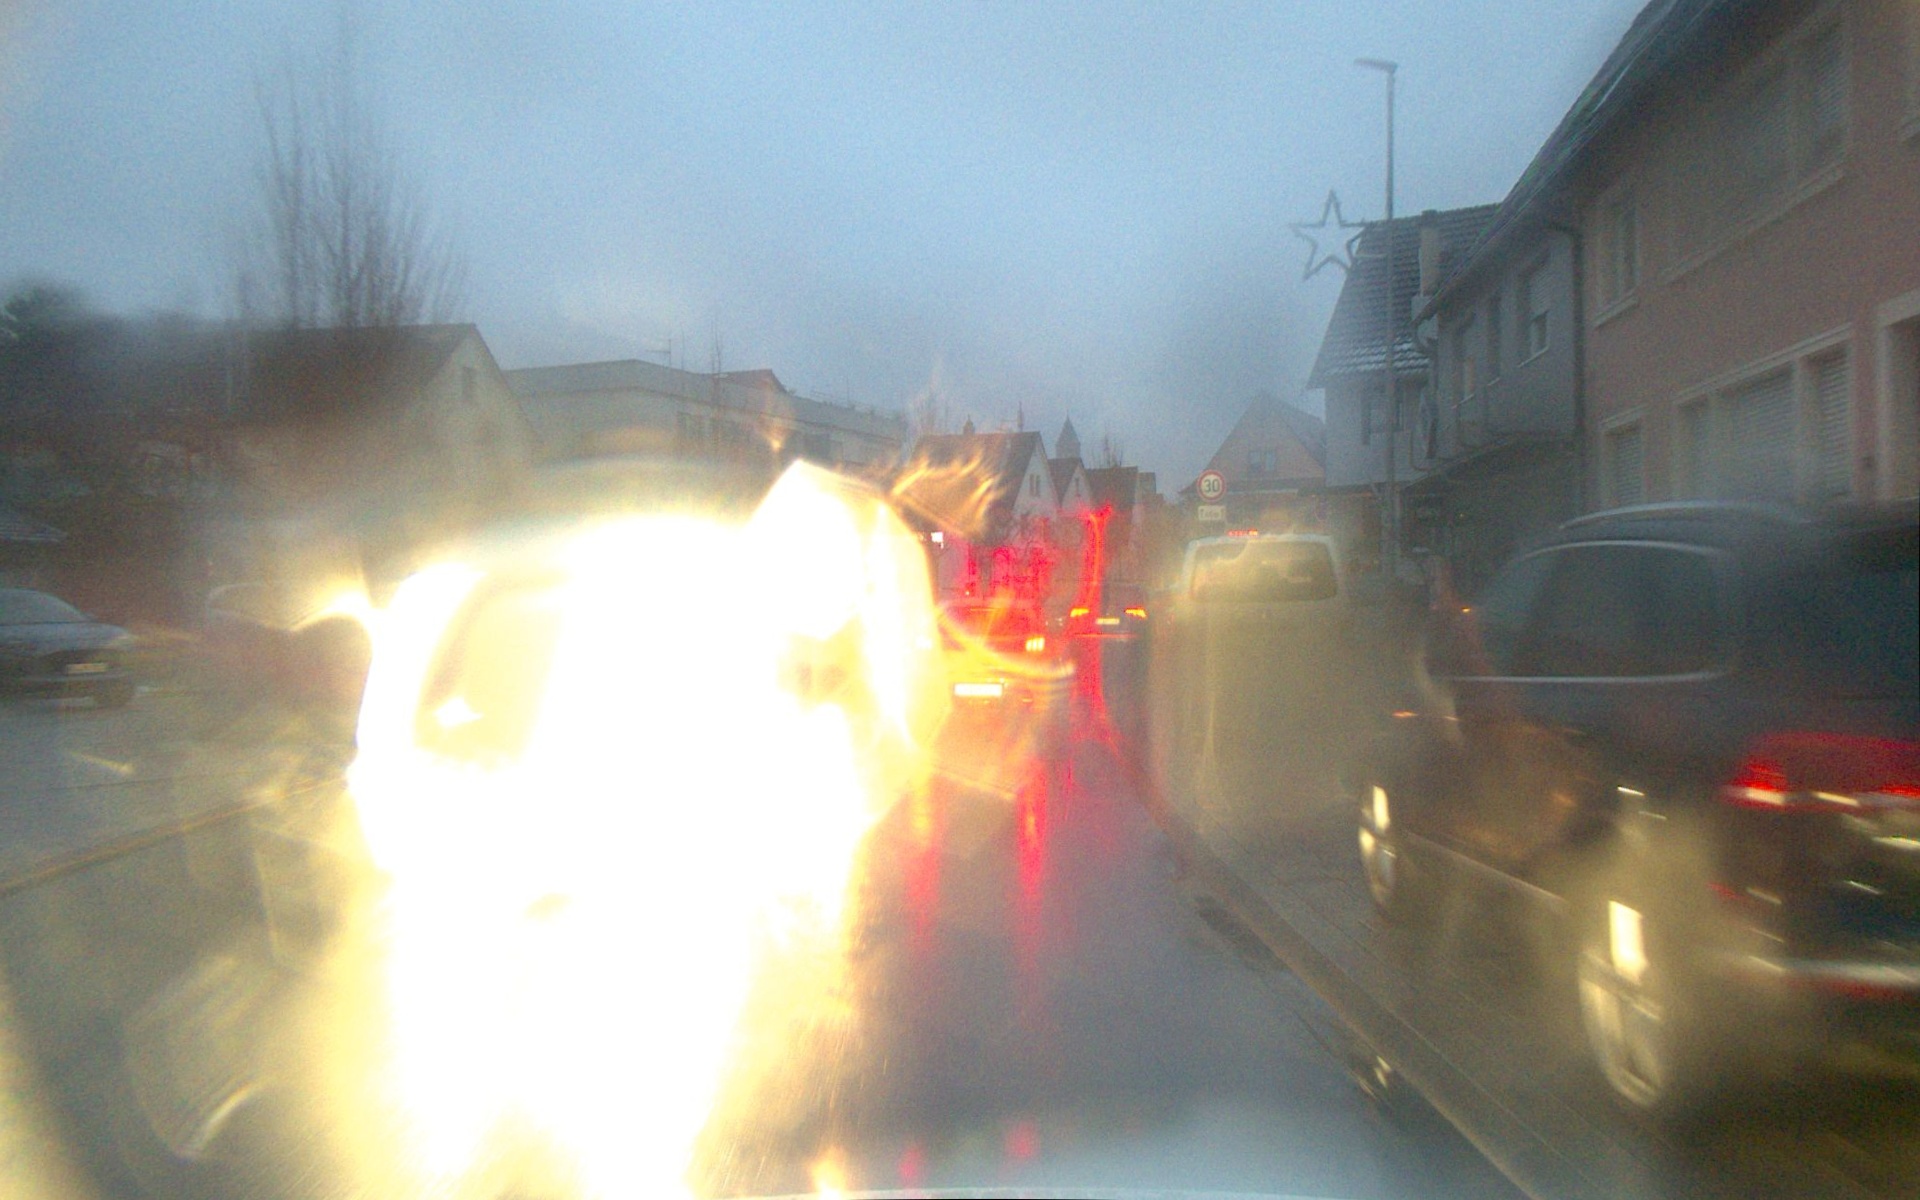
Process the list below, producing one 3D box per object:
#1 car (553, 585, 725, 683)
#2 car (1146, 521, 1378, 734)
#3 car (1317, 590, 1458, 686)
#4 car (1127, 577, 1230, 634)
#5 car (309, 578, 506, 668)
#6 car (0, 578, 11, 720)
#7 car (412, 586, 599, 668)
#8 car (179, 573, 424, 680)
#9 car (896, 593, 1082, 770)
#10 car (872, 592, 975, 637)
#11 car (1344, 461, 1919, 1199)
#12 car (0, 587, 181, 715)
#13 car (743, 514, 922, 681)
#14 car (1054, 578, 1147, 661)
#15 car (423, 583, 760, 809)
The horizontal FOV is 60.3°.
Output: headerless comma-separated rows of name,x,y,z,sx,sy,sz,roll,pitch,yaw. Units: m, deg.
car,-5.401,0.520,28.379,1.864,1.560,4.258,0,0,4
car,3.136,0.238,18.152,1.931,1.994,4.854,-1,0,4
car,7.731,0.644,30.244,1.698,1.588,3.664,-2,0,2
car,7.547,0.152,56.681,1.908,1.781,4.845,-3,0,28
car,-10.633,0.452,31.732,4.036,1.610,1.712,-2,-1,40
car,-12.063,0.572,17.792,3.854,1.484,1.756,-1,1,36
car,-9.338,0.508,33.839,3.931,1.557,1.987,0,1,44
car,-11.360,0.453,28.407,4.568,1.683,1.978,-1,-1,39
car,0.387,0.858,19.919,1.952,1.827,4.649,-1,0,2
car,-1.347,0.531,59.711,1.720,1.503,4.036,-1,-1,-36
car,2.815,0.510,5.794,1.934,1.690,4.461,-1,0,1
car,-11.818,0.607,20.969,3.990,1.485,1.752,-1,0,35
car,-2.031,-0.063,28.478,2.148,2.534,6.146,-1,0,4
car,3.100,0.397,35.889,1.759,1.691,4.003,0,0,8
car,-2.870,0.656,13.931,1.788,1.545,4.548,-1,1,0
